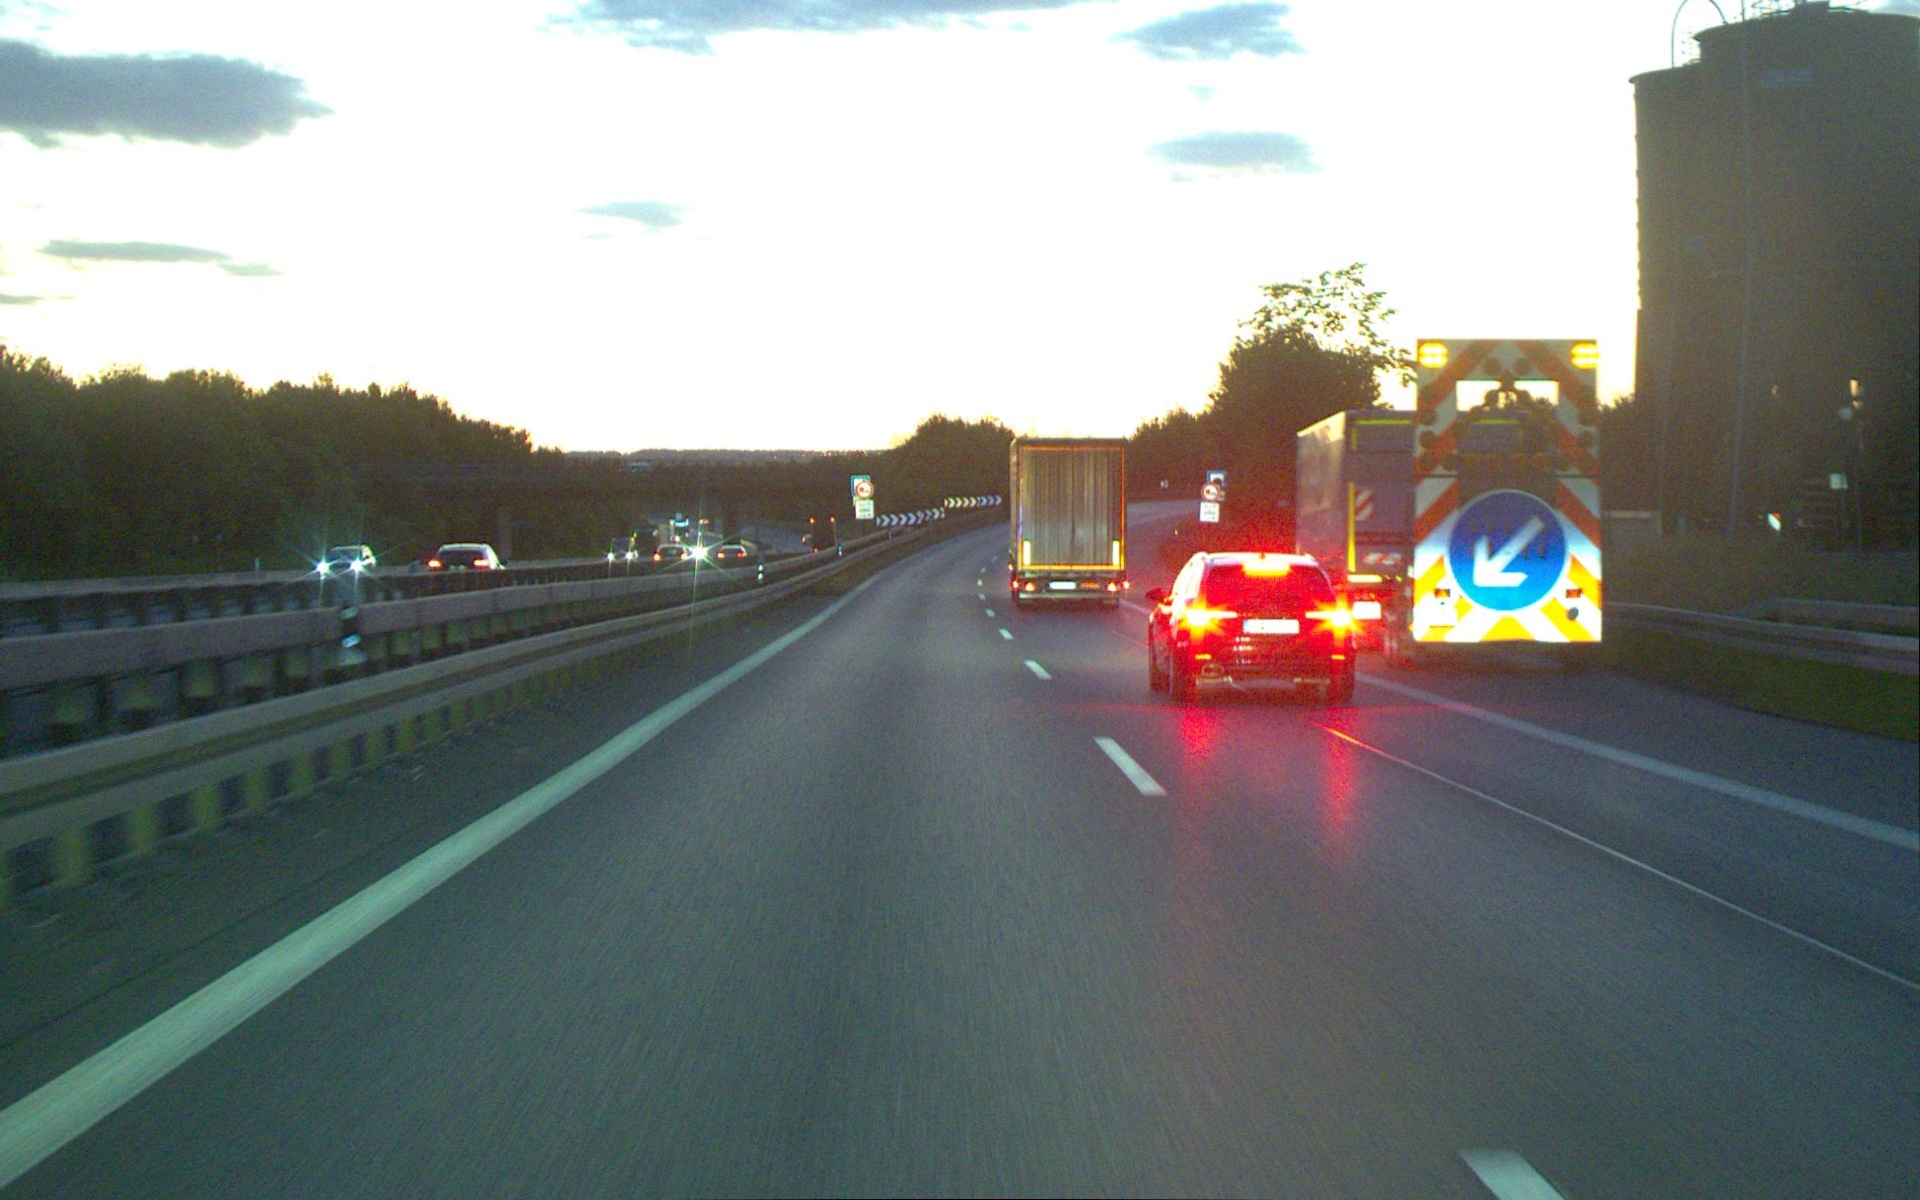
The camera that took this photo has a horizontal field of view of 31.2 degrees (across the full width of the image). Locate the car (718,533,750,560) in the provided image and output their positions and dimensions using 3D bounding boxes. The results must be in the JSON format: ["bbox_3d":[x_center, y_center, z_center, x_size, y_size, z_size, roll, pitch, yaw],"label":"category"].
[{"bbox_3d":[-13.505,-3.184,205.806,1.638,1.541,3.395,-2,1,0],"label":"car"}]

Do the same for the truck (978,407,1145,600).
[{"bbox_3d":[2.359,-2.282,83.728,3.510,4.286,9.892,-2,1,-1],"label":"truck"}]

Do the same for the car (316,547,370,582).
[{"bbox_3d":[-26.445,-1.535,147.444,1.668,1.489,3.674,0,1,0],"label":"car"}]

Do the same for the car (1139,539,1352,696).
[{"bbox_3d":[2.797,0.134,34.458,1.915,1.437,4.000,-1,1,2],"label":"car"}]

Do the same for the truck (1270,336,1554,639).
[{"bbox_3d":[6.549,-1.613,51.206,2.913,4.097,9.150,0,1,-1],"label":"truck"}]

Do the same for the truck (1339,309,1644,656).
[{"bbox_3d":[6.574,-1.433,43.426,2.788,4.045,6.412,0,1,-1],"label":"truck"}]

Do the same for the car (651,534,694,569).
[{"bbox_3d":[-13.707,-2.320,164.122,1.713,1.600,3.722,-2,1,0],"label":"car"}]

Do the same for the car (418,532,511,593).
[{"bbox_3d":[-13.543,-1.028,94.161,1.872,1.556,4.520,-2,1,-1],"label":"car"}]
